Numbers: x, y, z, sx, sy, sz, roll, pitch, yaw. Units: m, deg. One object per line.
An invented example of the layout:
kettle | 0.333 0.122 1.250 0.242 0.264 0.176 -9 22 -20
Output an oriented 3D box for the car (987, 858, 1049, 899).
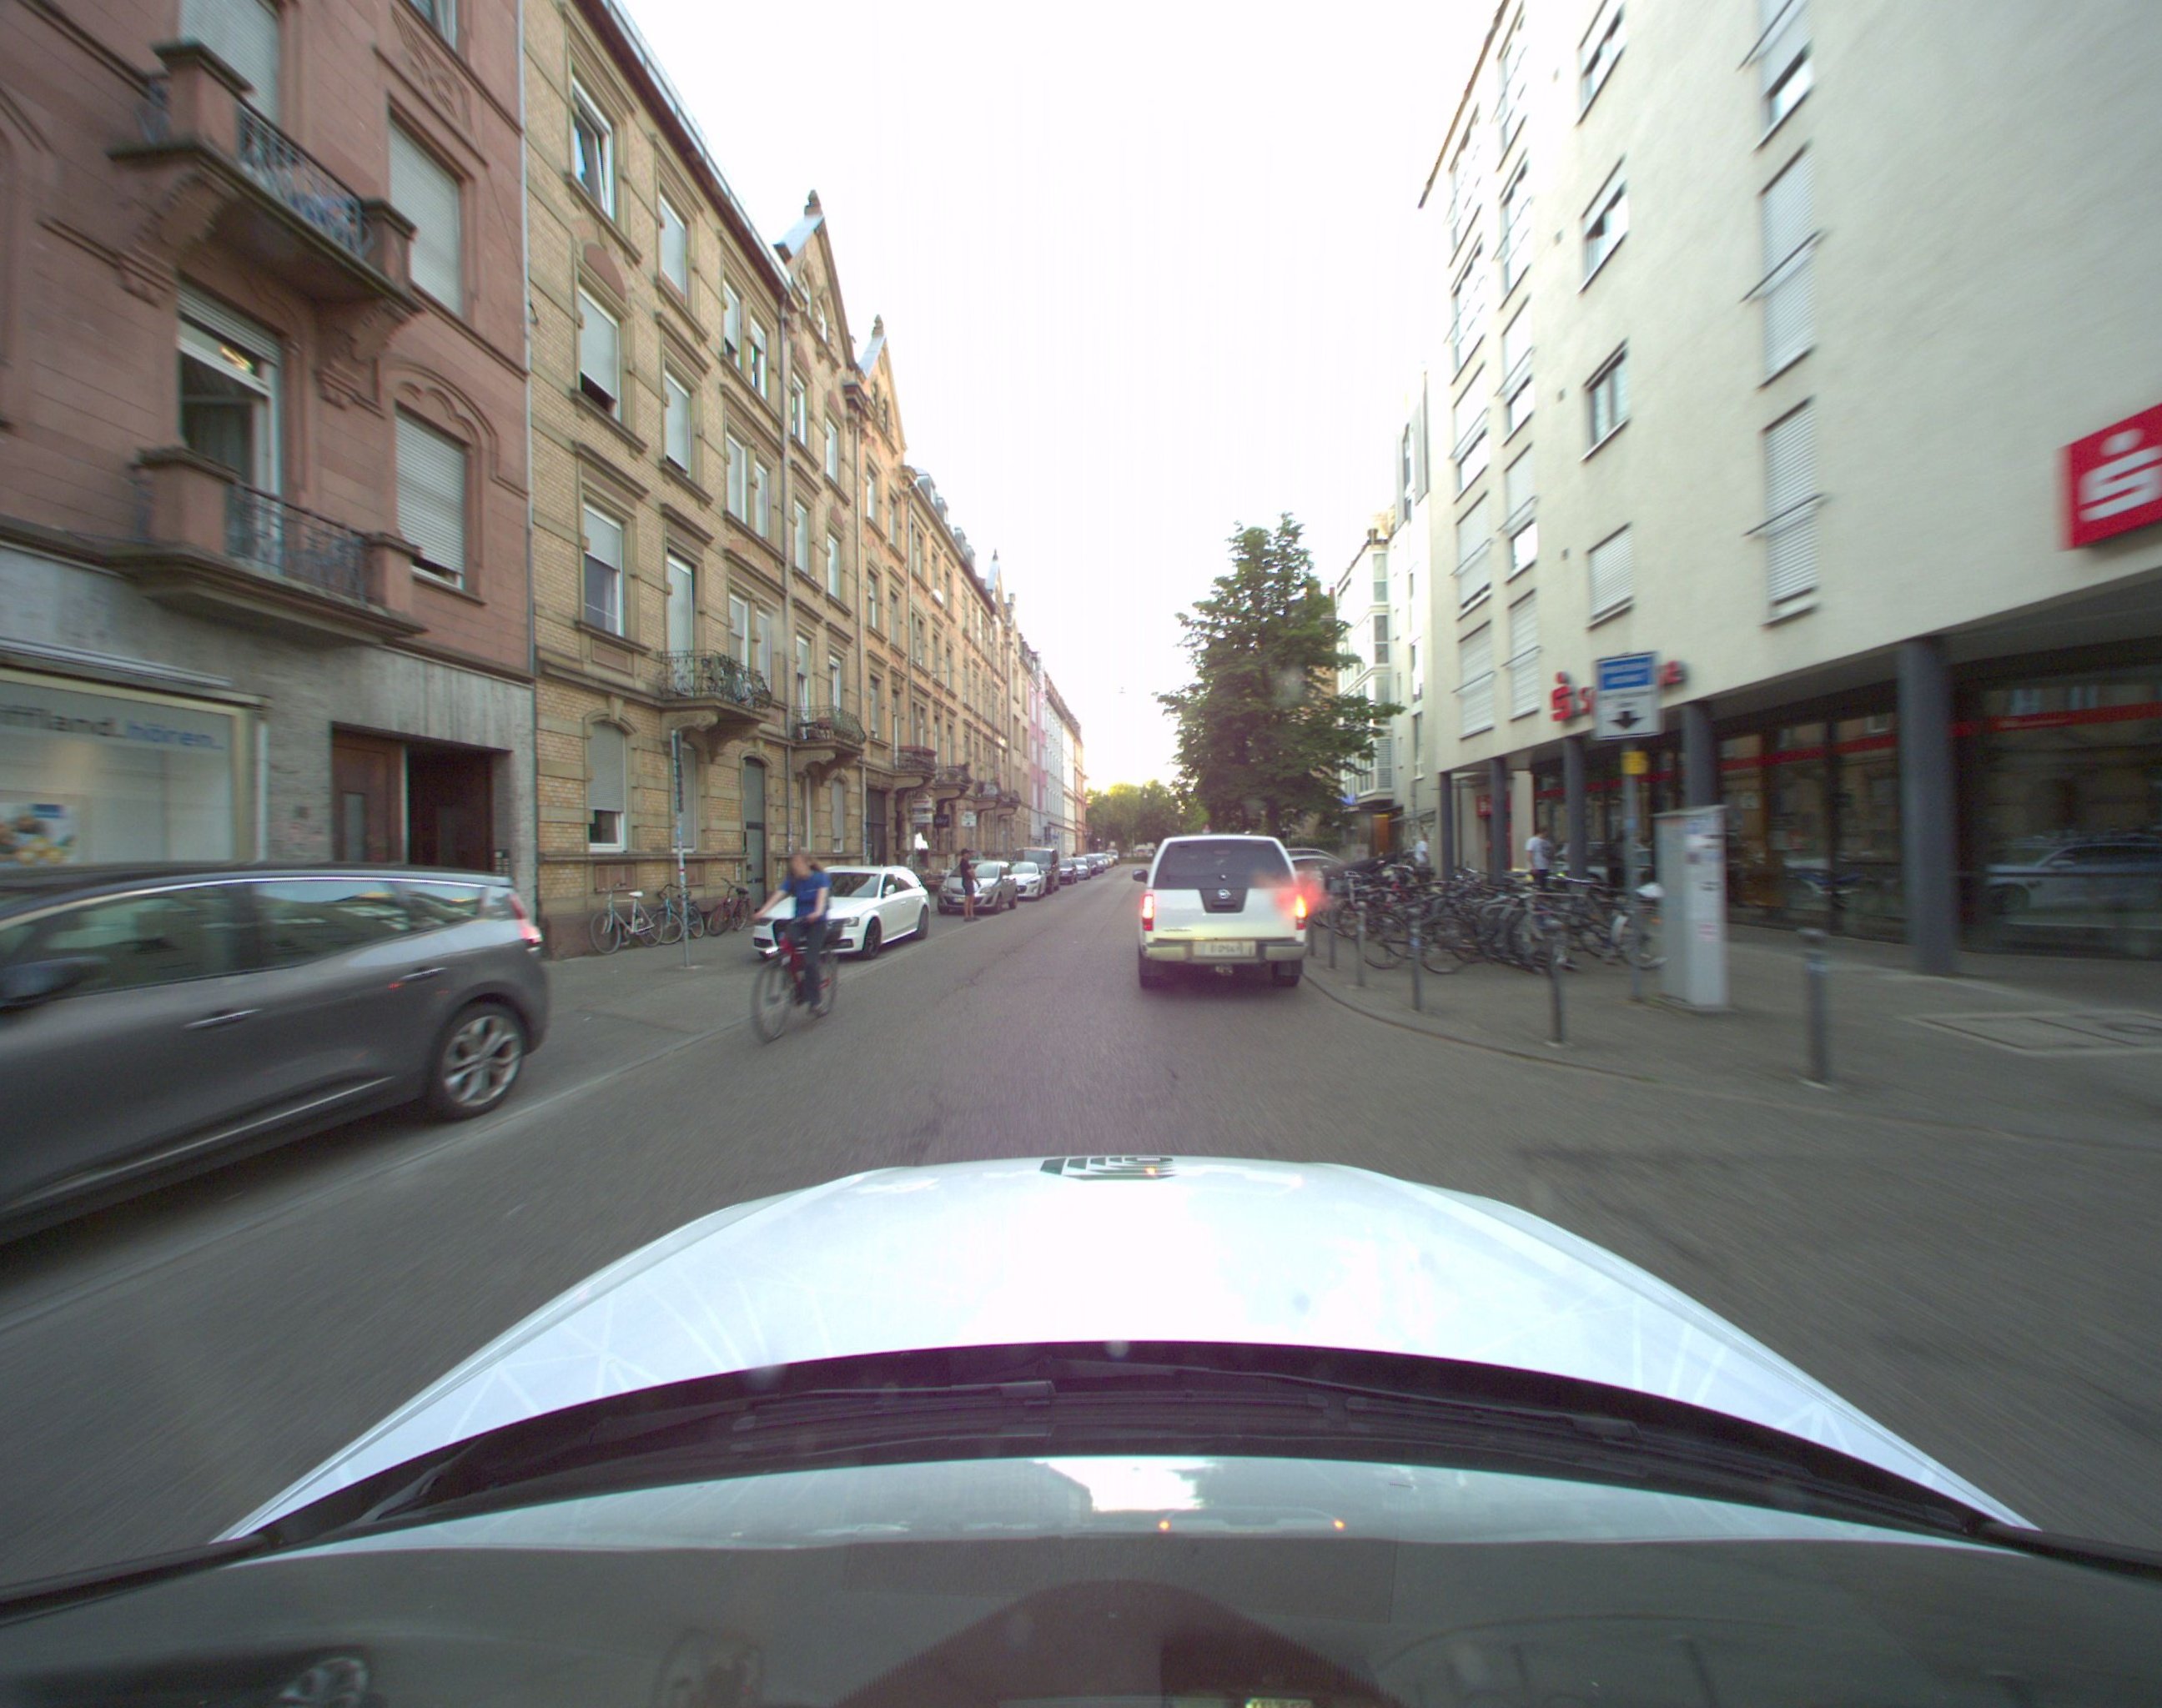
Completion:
car | -2.313 0.879 31.129 1.776 1.423 4.489 1 0 3

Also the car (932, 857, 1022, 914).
car | -2.918 0.836 23.632 1.708 1.457 4.007 0 0 6

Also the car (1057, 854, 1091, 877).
car | -0.428 0.751 54.690 1.825 1.458 4.212 1 0 5

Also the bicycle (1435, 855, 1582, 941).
bicycle | 6.179 0.632 11.841 1.713 1.118 0.655 -4 -1 8

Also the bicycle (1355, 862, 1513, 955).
bicycle | 4.798 0.730 11.163 1.801 1.118 0.707 -4 -1 3

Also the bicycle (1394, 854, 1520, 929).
bicycle | 6.206 0.609 13.499 1.716 1.118 0.654 -4 -1 1

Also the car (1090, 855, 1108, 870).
car | 1.966 0.869 86.584 1.690 1.621 4.027 0 0 4

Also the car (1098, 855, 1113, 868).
car | 2.997 0.910 98.622 1.692 1.552 4.024 0 0 2

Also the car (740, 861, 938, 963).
car | -3.955 0.879 14.194 1.750 1.412 4.515 -1 0 5

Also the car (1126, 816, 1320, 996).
car | 1.606 0.552 11.054 1.903 1.853 5.273 0 0 2

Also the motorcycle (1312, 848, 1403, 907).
motorcycle | 7.177 0.598 21.228 2.050 1.369 0.717 -4 0 1

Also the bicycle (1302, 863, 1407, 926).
bicycle | 5.185 0.769 15.532 1.710 1.031 0.669 -5 -1 7

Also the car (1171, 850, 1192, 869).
car | 8.948 0.504 72.588 1.667 1.501 3.908 -5 0 6

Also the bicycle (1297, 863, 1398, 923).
bicycle | 5.261 0.770 16.148 1.763 1.022 0.566 -5 -1 7

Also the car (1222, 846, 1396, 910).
car | 6.420 0.660 23.253 4.411 1.455 1.779 -4 0 -2

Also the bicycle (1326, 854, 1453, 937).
bicycle | 5.003 0.675 13.320 1.775 1.182 0.737 -6 -2 15

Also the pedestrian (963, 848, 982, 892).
pedestrian | -4.475 0.668 33.642 0.578 1.771 0.998 1 1 1

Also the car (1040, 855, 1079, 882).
car | -1.146 0.792 45.538 1.729 1.418 4.784 0 -1 4

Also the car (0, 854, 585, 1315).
car | -4.747 0.845 3.797 1.844 1.633 4.452 -1 0 5

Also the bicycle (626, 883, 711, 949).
bicycle | -7.276 1.060 14.438 0.562 1.036 1.626 -1 0 4

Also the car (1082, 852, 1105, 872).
car | 1.083 0.656 70.785 1.837 1.659 4.254 -2 0 2

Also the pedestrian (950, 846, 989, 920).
pedestrian | -2.732 0.700 19.975 0.550 1.755 1.026 -1 -1 16

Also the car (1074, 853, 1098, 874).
car | 0.441 0.717 64.316 1.629 1.565 3.785 -1 0 4

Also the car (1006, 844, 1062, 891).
car | -2.005 0.551 36.327 1.985 1.924 4.954 0 0 2

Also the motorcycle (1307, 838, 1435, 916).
motorcycle | 6.441 0.516 18.223 2.478 1.549 0.825 -4 -1 7

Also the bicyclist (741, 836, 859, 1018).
bicyclist | -2.672 0.665 7.837 0.641 1.621 0.920 -3 0 8

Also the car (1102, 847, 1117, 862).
car | 3.695 0.040 106.758 1.804 1.977 4.187 0 0 1

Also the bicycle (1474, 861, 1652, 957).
bicycle | 5.882 0.666 10.027 1.713 1.054 0.655 -4 -1 8

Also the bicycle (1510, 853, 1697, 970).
bicycle | 5.754 0.610 9.007 1.721 1.131 0.577 -3 -1 -7

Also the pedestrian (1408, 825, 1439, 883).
pedestrian | 10.492 -0.009 24.941 0.625 1.753 0.586 -1 -1 -7

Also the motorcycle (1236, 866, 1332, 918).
motorcycle | 4.800 0.884 19.253 2.058 1.078 0.661 -3 -1 -11

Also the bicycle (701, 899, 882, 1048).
bicycle | -2.655 1.050 7.800 0.641 1.081 2.173 -3 0 8

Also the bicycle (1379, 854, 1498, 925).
bicycle | 6.217 0.609 14.222 1.716 1.118 0.654 -4 -1 1

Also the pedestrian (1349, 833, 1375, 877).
pedestrian | 11.585 0.042 33.582 0.724 1.716 0.965 -4 -1 5

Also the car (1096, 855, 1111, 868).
car | 2.572 0.802 92.701 1.692 1.426 4.024 0 0 2

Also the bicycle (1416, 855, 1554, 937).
bicycle | 6.123 0.629 12.418 1.713 1.118 0.655 -4 -1 8

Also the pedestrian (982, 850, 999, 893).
pedestrian | -3.757 0.718 33.879 0.603 1.772 0.777 1 1 1

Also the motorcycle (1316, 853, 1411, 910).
motorcycle | 6.981 0.675 20.198 2.047 1.243 0.718 -4 0 6

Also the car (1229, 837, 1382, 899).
car | 7.070 0.441 25.981 4.379 1.647 1.748 -4 0 4

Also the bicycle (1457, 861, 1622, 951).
bicycle | 5.976 0.668 10.694 1.713 1.054 0.655 -4 -1 8

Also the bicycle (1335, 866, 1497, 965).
bicycle | 4.243 0.765 10.412 1.715 1.118 0.707 -4 -1 3

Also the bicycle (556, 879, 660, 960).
bicycle | -7.472 1.004 12.961 0.513 1.132 1.732 -1 0 4

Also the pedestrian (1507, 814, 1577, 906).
pedestrian | 9.154 0.118 16.169 0.780 1.723 0.903 -5 1 -39

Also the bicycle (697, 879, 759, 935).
bicycle | -7.128 1.047 16.518 0.591 1.027 1.622 -1 0 -3

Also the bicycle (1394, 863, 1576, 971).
bicycle | 4.666 0.715 9.516 1.713 1.118 0.708 -4 -1 8

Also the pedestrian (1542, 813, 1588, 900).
pedestrian | 9.887 0.050 16.622 0.656 1.723 0.667 -2 1 39

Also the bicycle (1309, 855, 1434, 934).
bicycle | 5.010 0.691 14.165 1.858 1.182 0.745 -6 -1 9
